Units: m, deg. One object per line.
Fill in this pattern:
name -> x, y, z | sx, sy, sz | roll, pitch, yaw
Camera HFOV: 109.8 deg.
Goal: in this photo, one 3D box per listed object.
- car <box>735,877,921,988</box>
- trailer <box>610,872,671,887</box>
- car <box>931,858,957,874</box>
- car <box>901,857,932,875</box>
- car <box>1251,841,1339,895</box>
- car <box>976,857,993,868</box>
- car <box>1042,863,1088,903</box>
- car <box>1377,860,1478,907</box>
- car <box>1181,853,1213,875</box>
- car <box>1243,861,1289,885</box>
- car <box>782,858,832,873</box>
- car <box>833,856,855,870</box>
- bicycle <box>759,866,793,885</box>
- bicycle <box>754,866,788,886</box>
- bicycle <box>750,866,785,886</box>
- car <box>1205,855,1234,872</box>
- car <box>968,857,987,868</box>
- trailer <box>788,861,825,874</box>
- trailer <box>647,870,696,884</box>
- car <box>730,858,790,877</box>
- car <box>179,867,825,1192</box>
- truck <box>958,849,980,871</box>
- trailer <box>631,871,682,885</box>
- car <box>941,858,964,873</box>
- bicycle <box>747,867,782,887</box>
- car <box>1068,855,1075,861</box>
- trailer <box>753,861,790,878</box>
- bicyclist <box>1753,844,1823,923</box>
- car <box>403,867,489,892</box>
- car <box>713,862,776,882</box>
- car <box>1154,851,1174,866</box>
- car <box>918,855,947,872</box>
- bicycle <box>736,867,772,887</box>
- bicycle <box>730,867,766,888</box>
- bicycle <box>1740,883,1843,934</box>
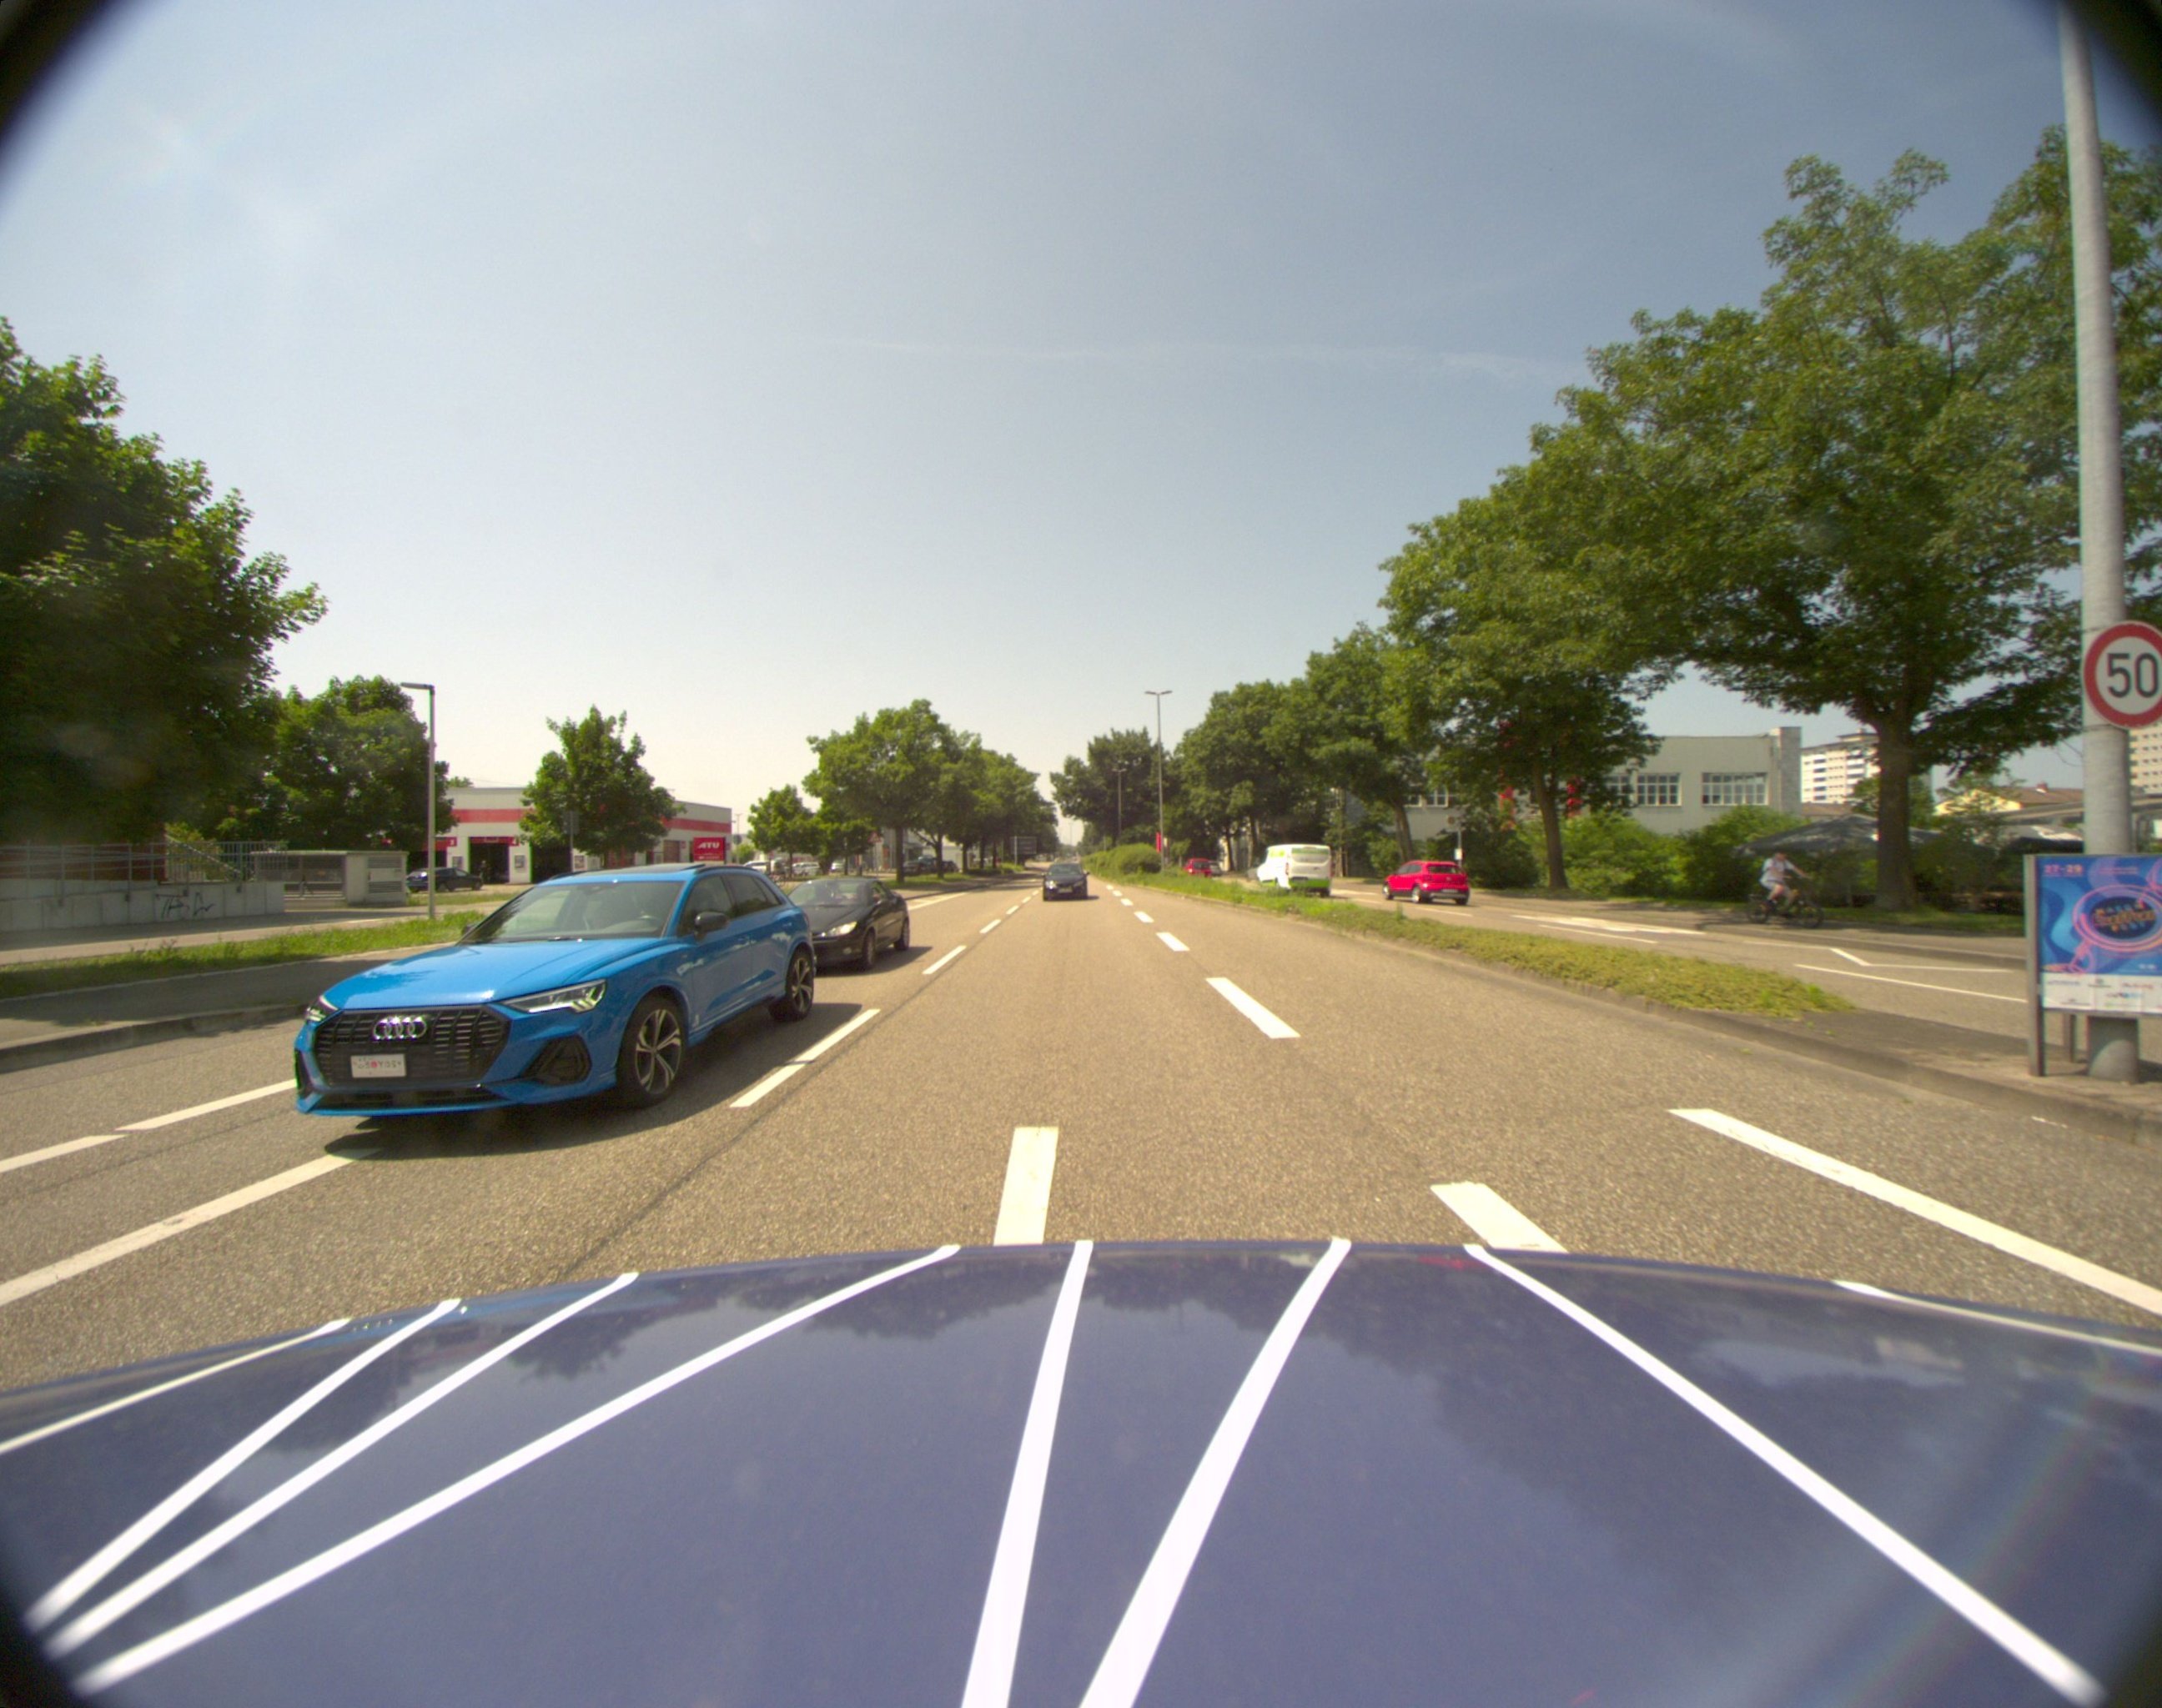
car -> -3.860, 1.122, 12.317 | 1.642, 1.336, 4.000 | -3, 0, 0
trailer -> -23.892, 1.384, 41.243 | 2.467, 0.757, 1.449 | -1, 0, 1
car -> -13.332, 1.179, 74.097 | 1.719, 1.511, 4.000 | 0, 0, 1
car -> -13.513, 0.962, 62.695 | 1.642, 1.363, 4.000 | 0, 0, 1
car -> 8.378, 0.512, 30.262 | 1.999, 1.934, 4.908 | 2, 0, -1
car -> -13.277, 1.101, 104.417 | 1.719, 1.458, 4.000 | 0, 0, 1
car -> -0.593, 1.067, 29.387 | 1.642, 1.395, 4.000 | 0, 0, -1
car -> 12.004, 0.984, 26.614 | 1.710, 1.444, 3.891 | 2, 0, 0
car -> 8.116, 0.675, 53.416 | 1.584, 1.432, 3.608 | 2, 0, -1
car -> 11.862, 1.175, 48.868 | 1.782, 1.396, 4.359 | 2, 0, -1
car -> -25.082, 1.067, 69.596 | 3.998, 1.293, 1.689 | 0, 0, -3
car -> -27.419, 0.999, 87.970 | 1.759, 1.586, 3.998 | 0, 0, -7
bicycle -> -18.417, 1.292, 45.907 | 1.784, 1.117, 0.514 | 0, 0, -6
bicycle -> -18.382, 1.299, 45.076 | 1.784, 1.117, 0.514 | 0, 0, -6
bicycle -> -18.292, 1.277, 44.357 | 1.784, 1.117, 0.514 | 0, 0, -6
car -> 12.428, 0.850, 68.376 | 1.753, 1.442, 4.133 | 2, 0, 0
car -> -13.305, 1.095, 97.835 | 1.719, 1.458, 4.000 | 0, 0, 1
trailer -> -24.281, 1.183, 67.243 | 2.642, 1.046, 1.578 | 0, 0, -2
trailer -> -24.122, 1.348, 44.776 | 2.137, 0.757, 1.394 | -1, 0, 1
car -> -25.277, 1.061, 59.879 | 3.998, 1.394, 1.747 | 0, 0, -3
car -> -3.749, 0.950, 6.155 | 1.842, 1.586, 4.400 | -1, 0, 0
truck -> -13.539, 0.737, 92.001 | 1.904, 2.552, 4.000 | 0, 0, 2
trailer -> -24.142, 1.370, 43.257 | 2.137, 0.757, 1.267 | -1, 0, 1
car -> -13.558, 1.162, 80.271 | 1.719, 1.504, 4.000 | 0, 0, 1
bicycle -> -18.197, 1.312, 43.717 | 1.784, 1.117, 0.514 | 0, 0, -6
car -> -2.922, 1.211, 235.855 | 1.999, 1.692, 4.000 | 0, 0, 0
trailer -> -27.297, 1.348, 66.995 | 2.642, 1.518, 1.415 | 0, 0, -2
bicyclist -> 14.914, 0.597, 16.054 | 0.609, 1.621, 0.923 | 0, 1, 0
car -> -38.164, 1.530, 45.813 | 1.717, 1.364, 4.145 | 0, 0, 0
car -> -25.505, 1.363, 57.649 | 3.998, 1.394, 1.747 | 0, 0, -2
car -> 9.170, 0.472, 84.517 | 1.753, 1.560, 4.153 | 2, 0, 0
car -> -13.427, 0.821, 68.924 | 1.719, 1.458, 4.000 | 0, 0, 1
bicycle -> -18.469, 1.289, 42.971 | 1.784, 1.117, 0.514 | 0, 0, -6
bicycle -> -18.553, 1.305, 42.345 | 1.784, 1.117, 0.514 | 0, 0, -6
bicycle -> 14.909, 1.118, 15.999 | 0.619, 0.963, 1.660 | 0, 0, 1
